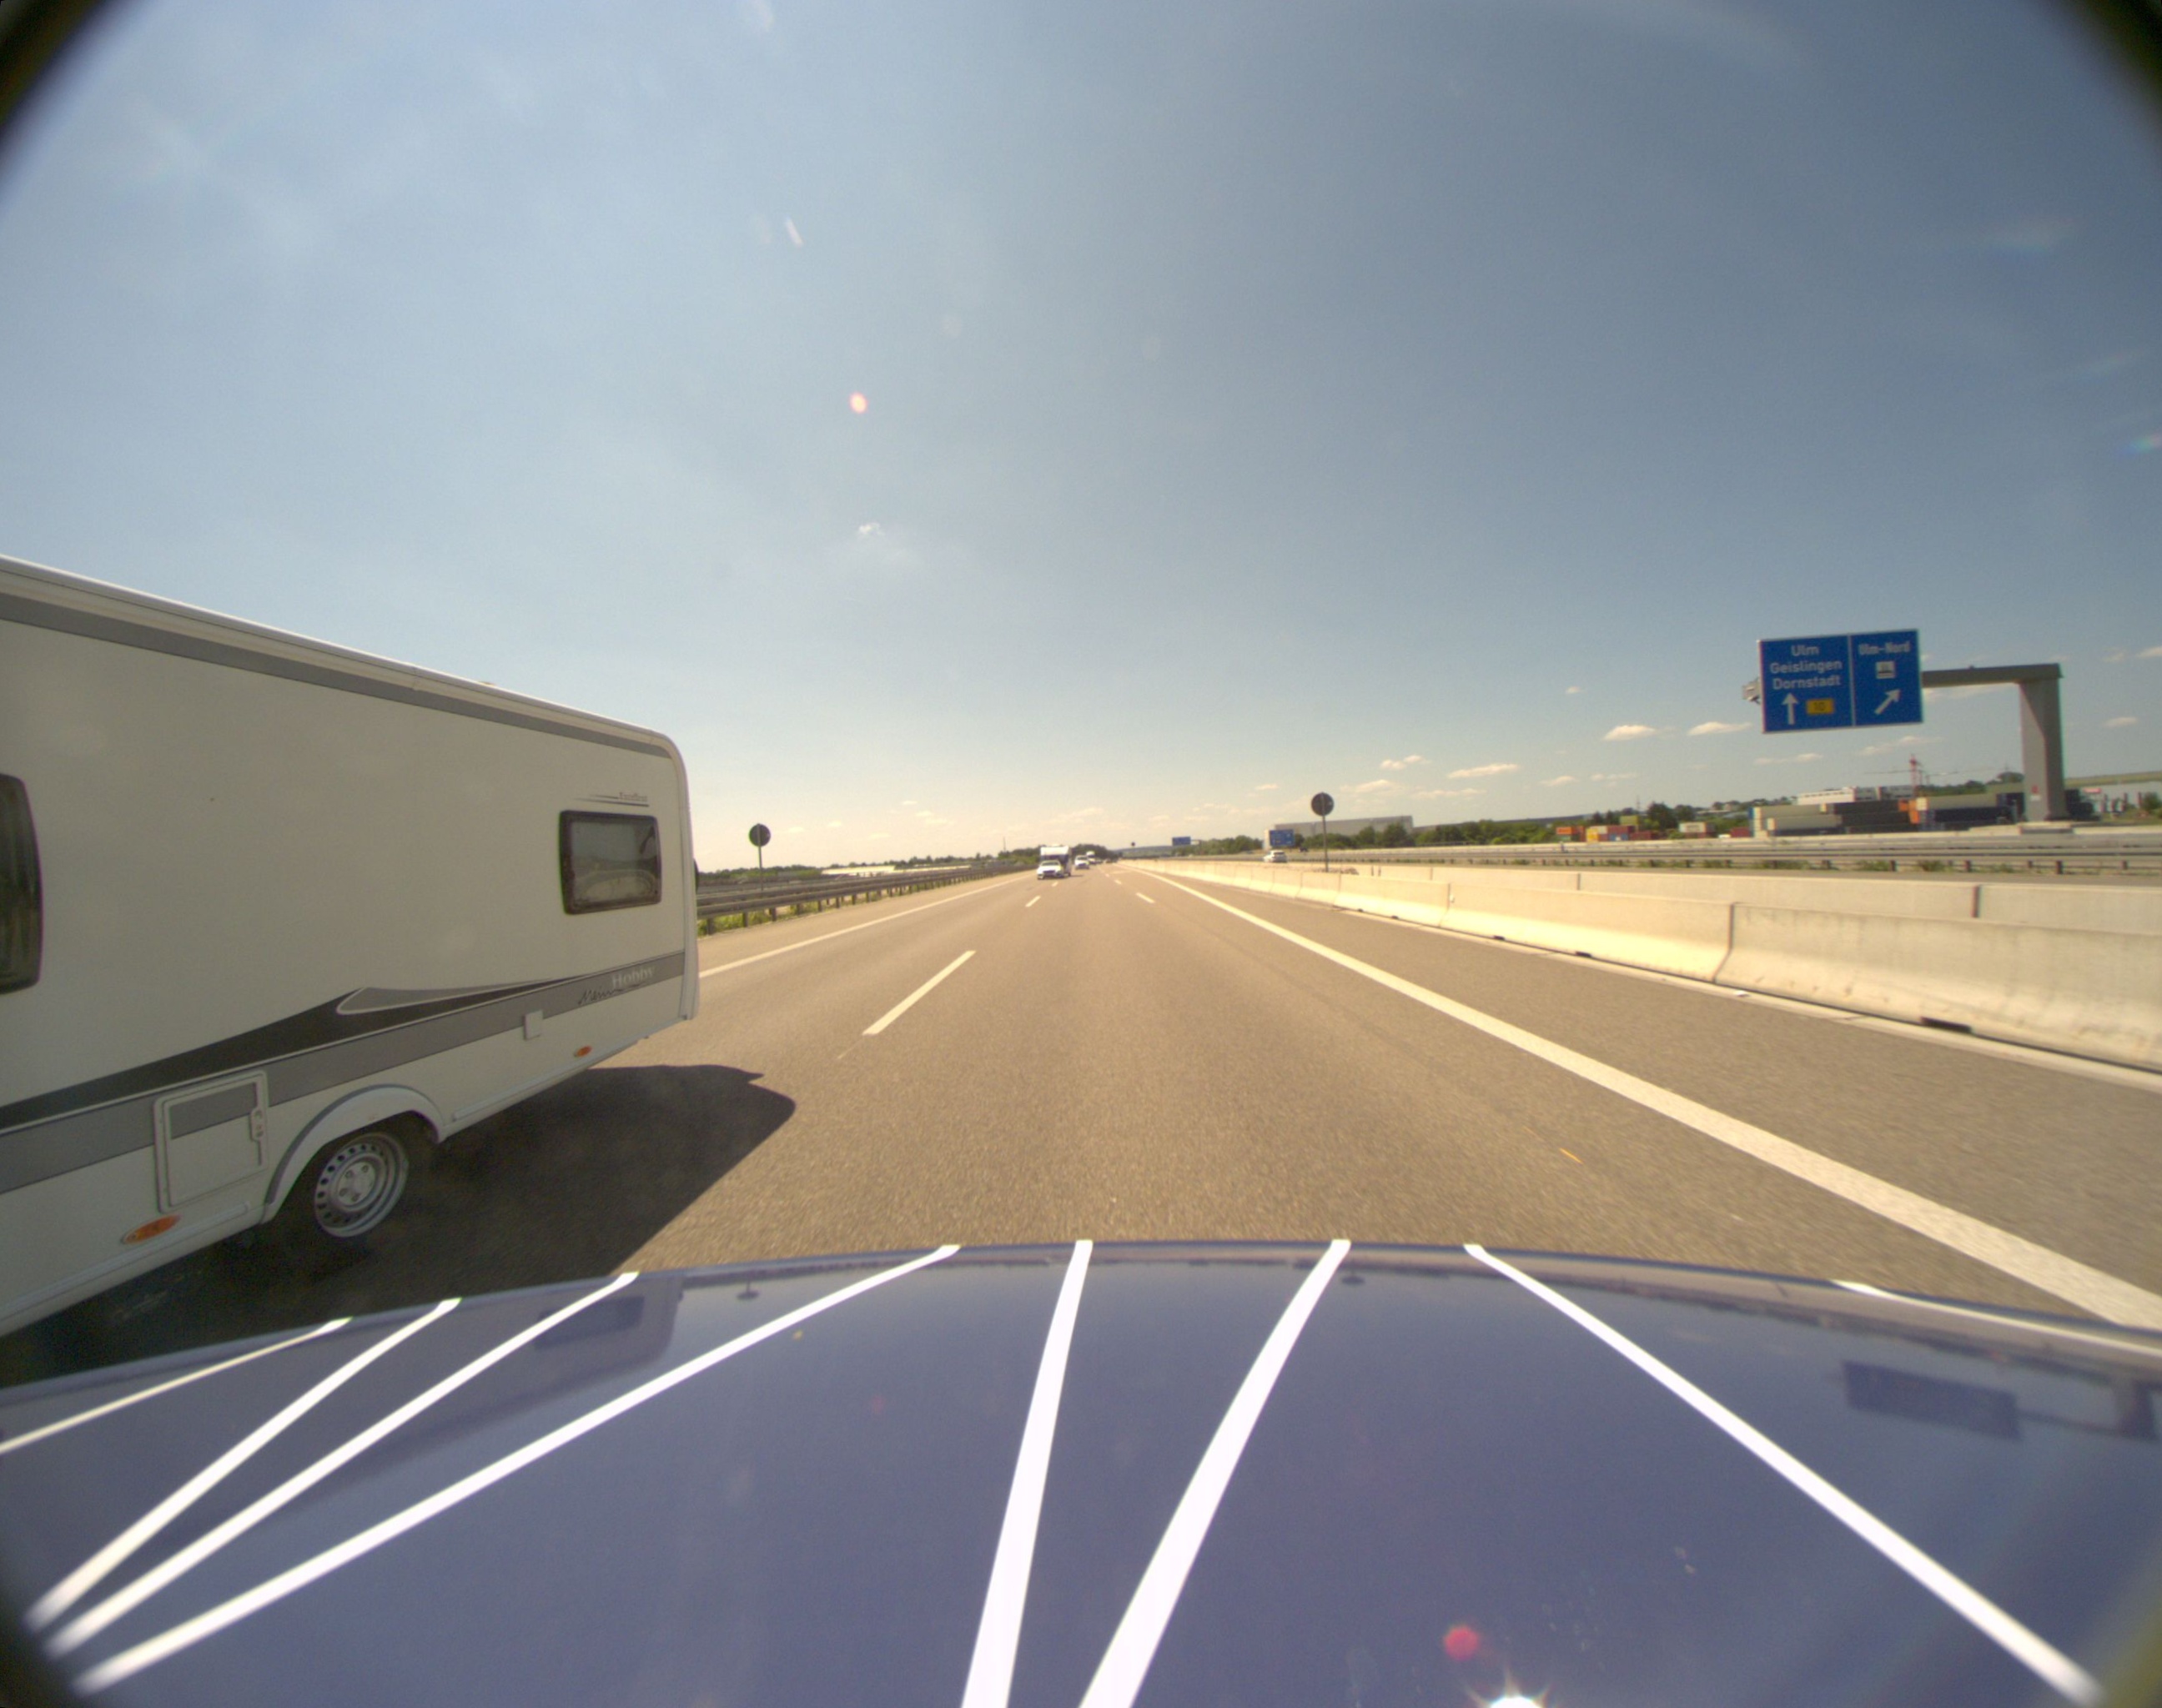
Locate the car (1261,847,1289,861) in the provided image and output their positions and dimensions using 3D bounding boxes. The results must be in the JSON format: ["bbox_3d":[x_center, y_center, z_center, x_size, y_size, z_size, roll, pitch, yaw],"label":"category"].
[{"bbox_3d":[20.423,-0.001,80.301,1.814,1.427,4.442,-2,0,1],"label":"car"}]

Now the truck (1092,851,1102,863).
[{"bbox_3d":[4.072,0.656,189.816,2.168,2.797,6.491,-2,0,2],"label":"truck"}]

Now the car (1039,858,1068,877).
[{"bbox_3d":[-2.082,0.997,57.973,1.872,1.352,3.673,-1,0,2],"label":"car"}]

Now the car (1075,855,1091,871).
[{"bbox_3d":[0.288,1.131,101.933,1.998,2.002,4.000,-2,0,0],"label":"car"}]

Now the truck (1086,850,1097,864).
[{"bbox_3d":[2.096,0.566,157.152,2.168,2.797,6.490,-2,0,1],"label":"truck"}]

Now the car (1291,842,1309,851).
[{"bbox_3d":[36.320,-1.178,126.140,1.998,1.371,4.363,-2,0,3],"label":"car"}]

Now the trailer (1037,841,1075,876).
[{"bbox_3d":[-2.008,0.354,63.354,2.500,2.686,7.156,-2,0,2],"label":"trailer"}]

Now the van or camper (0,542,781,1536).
[{"bbox_3d":[-4.066,0.514,2.942,2.518,2.577,7.817,-2,0,1],"label":"van or camper"}]
